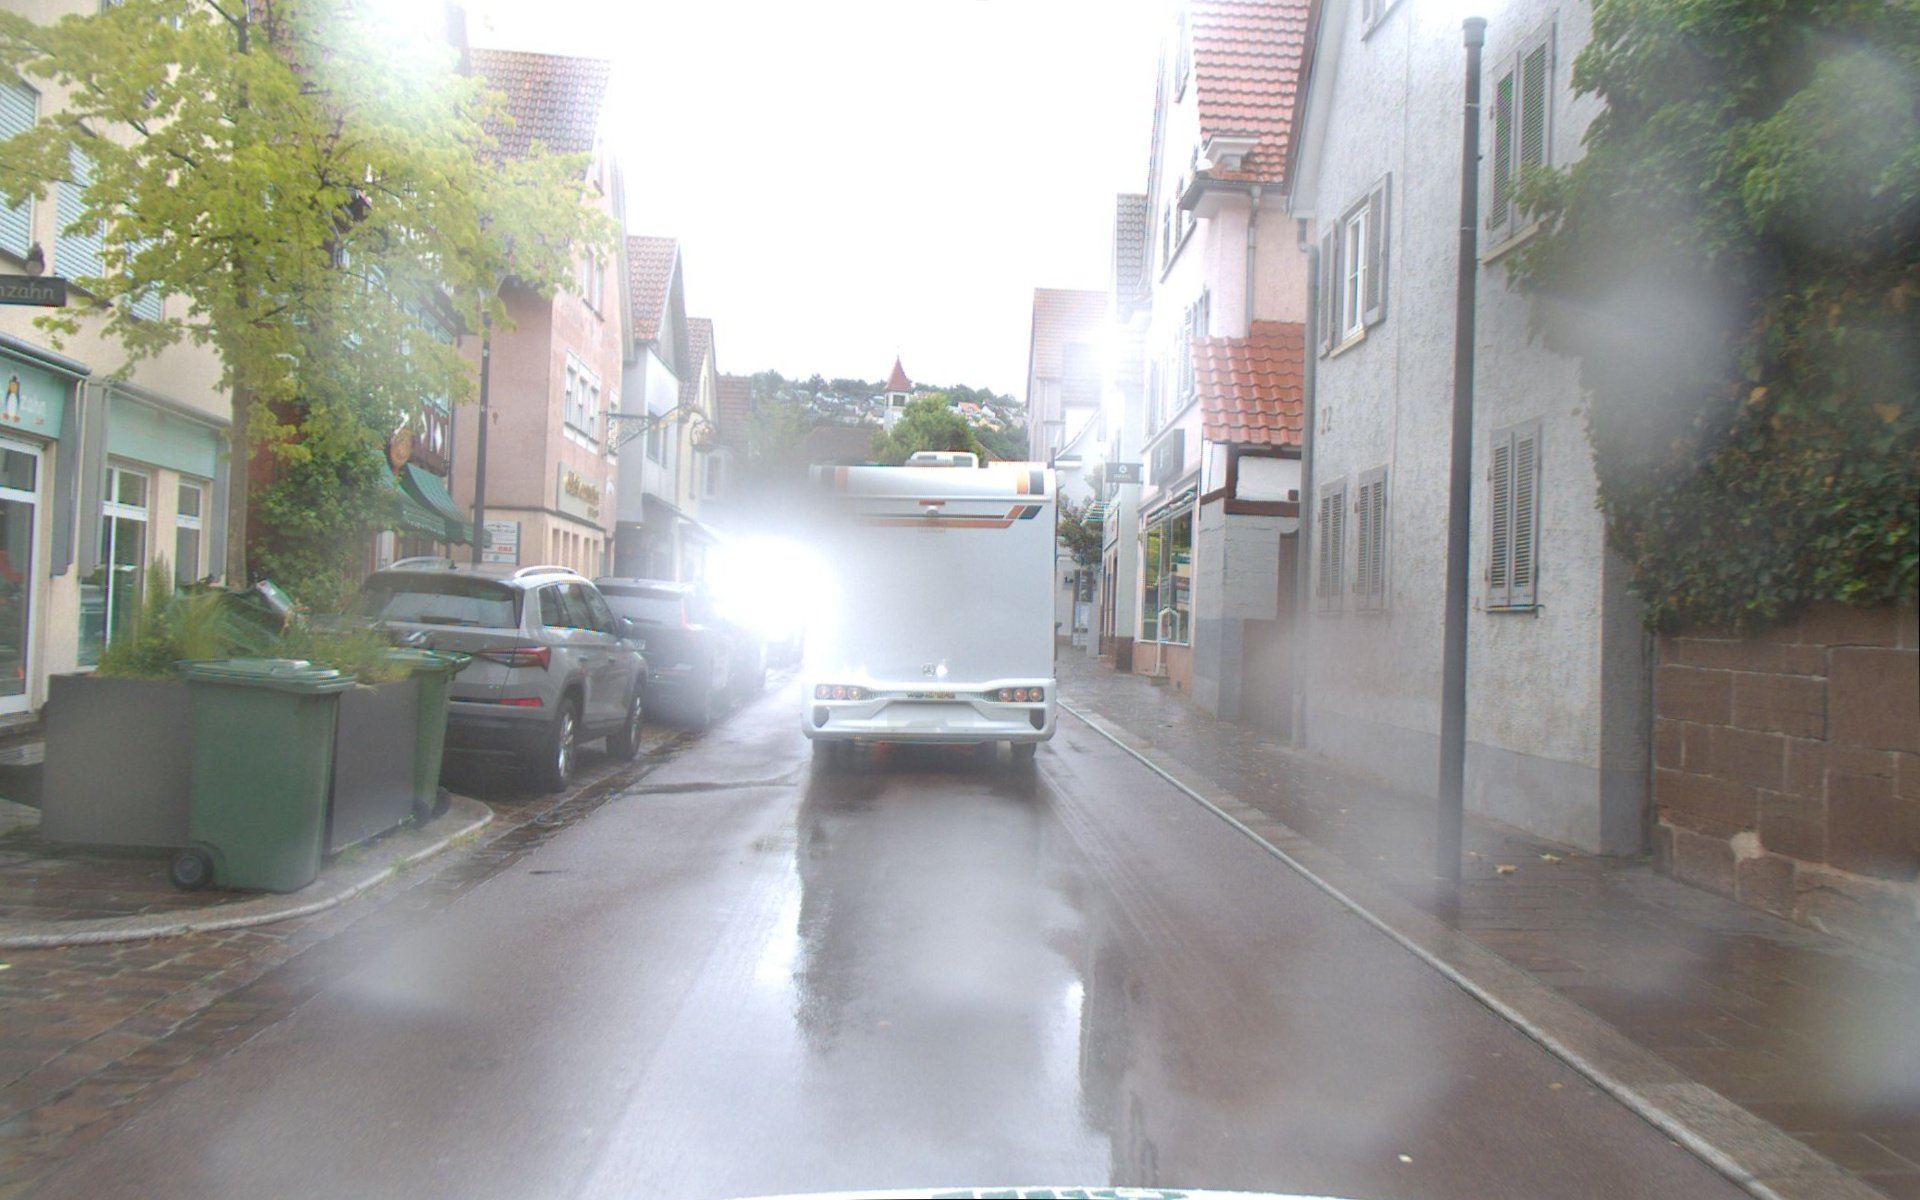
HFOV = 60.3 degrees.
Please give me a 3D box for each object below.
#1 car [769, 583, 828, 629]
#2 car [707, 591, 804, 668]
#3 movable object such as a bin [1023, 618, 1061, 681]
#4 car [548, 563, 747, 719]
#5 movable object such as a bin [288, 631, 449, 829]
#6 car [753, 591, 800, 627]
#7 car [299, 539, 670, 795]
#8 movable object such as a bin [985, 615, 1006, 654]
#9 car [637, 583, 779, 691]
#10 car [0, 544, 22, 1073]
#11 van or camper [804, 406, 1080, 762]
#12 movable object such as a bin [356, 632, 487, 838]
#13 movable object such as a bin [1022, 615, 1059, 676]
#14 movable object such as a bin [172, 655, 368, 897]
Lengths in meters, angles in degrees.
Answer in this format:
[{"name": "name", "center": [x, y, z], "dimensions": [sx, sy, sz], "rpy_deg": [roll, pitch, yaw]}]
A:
[{"name": "car", "center": [-5.827, 0.212, 59.447], "dimensions": [1.956, 1.497, 3.994], "rpy_deg": [3, 0, -7]}, {"name": "car", "center": [-4.569, 0.677, 37.483], "dimensions": [1.790, 1.594, 3.998], "rpy_deg": [2, -1, -2]}, {"name": "movable object such as a bin", "center": [1.648, 0.992, 33.156], "dimensions": [0.704, 1.222, 0.573], "rpy_deg": [1, -2, 0]}, {"name": "car", "center": [-3.810, 0.515, 20.901], "dimensions": [1.797, 1.704, 4.537], "rpy_deg": [2, -1, -3]}, {"name": "movable object such as a bin", "center": [-3.828, 0.823, 10.759], "dimensions": [0.729, 1.222, 0.749], "rpy_deg": [1, -2, 0]}, {"name": "car", "center": [-11.153, 0.575, 100.414], "dimensions": [1.964, 2.049, 3.976], "rpy_deg": [2, -1, -20]}, {"name": "car", "center": [-3.735, 0.523, 13.869], "dimensions": [1.735, 1.704, 4.478], "rpy_deg": [3, -1, 0]}, {"name": "movable object such as a bin", "center": [1.175, 1.147, 54.881], "dimensions": [0.645, 1.260, 0.621], "rpy_deg": [2, -2, -3]}, {"name": "car", "center": [-4.014, 0.606, 27.002], "dimensions": [1.797, 1.579, 4.279], "rpy_deg": [2, -1, -3]}, {"name": "car", "center": [-3.237, 0.578, 2.296], "dimensions": [1.560, 1.573, 3.976], "rpy_deg": [2, -1, 0]}, {"name": "van or camper", "center": [-0.387, -0.060, 17.284], "dimensions": [2.280, 2.970, 6.386], "rpy_deg": [2, -1, -4]}, {"name": "movable object such as a bin", "center": [-3.327, 0.822, 10.259], "dimensions": [0.589, 1.222, 0.523], "rpy_deg": [1, -2, 1]}, {"name": "movable object such as a bin", "center": [1.643, 0.929, 33.761], "dimensions": [0.704, 1.222, 0.578], "rpy_deg": [1, -2, 0]}, {"name": "movable object such as a bin", "center": [-3.332, 0.828, 8.041], "dimensions": [0.608, 1.098, 0.725], "rpy_deg": [1, -2, 0]}]
